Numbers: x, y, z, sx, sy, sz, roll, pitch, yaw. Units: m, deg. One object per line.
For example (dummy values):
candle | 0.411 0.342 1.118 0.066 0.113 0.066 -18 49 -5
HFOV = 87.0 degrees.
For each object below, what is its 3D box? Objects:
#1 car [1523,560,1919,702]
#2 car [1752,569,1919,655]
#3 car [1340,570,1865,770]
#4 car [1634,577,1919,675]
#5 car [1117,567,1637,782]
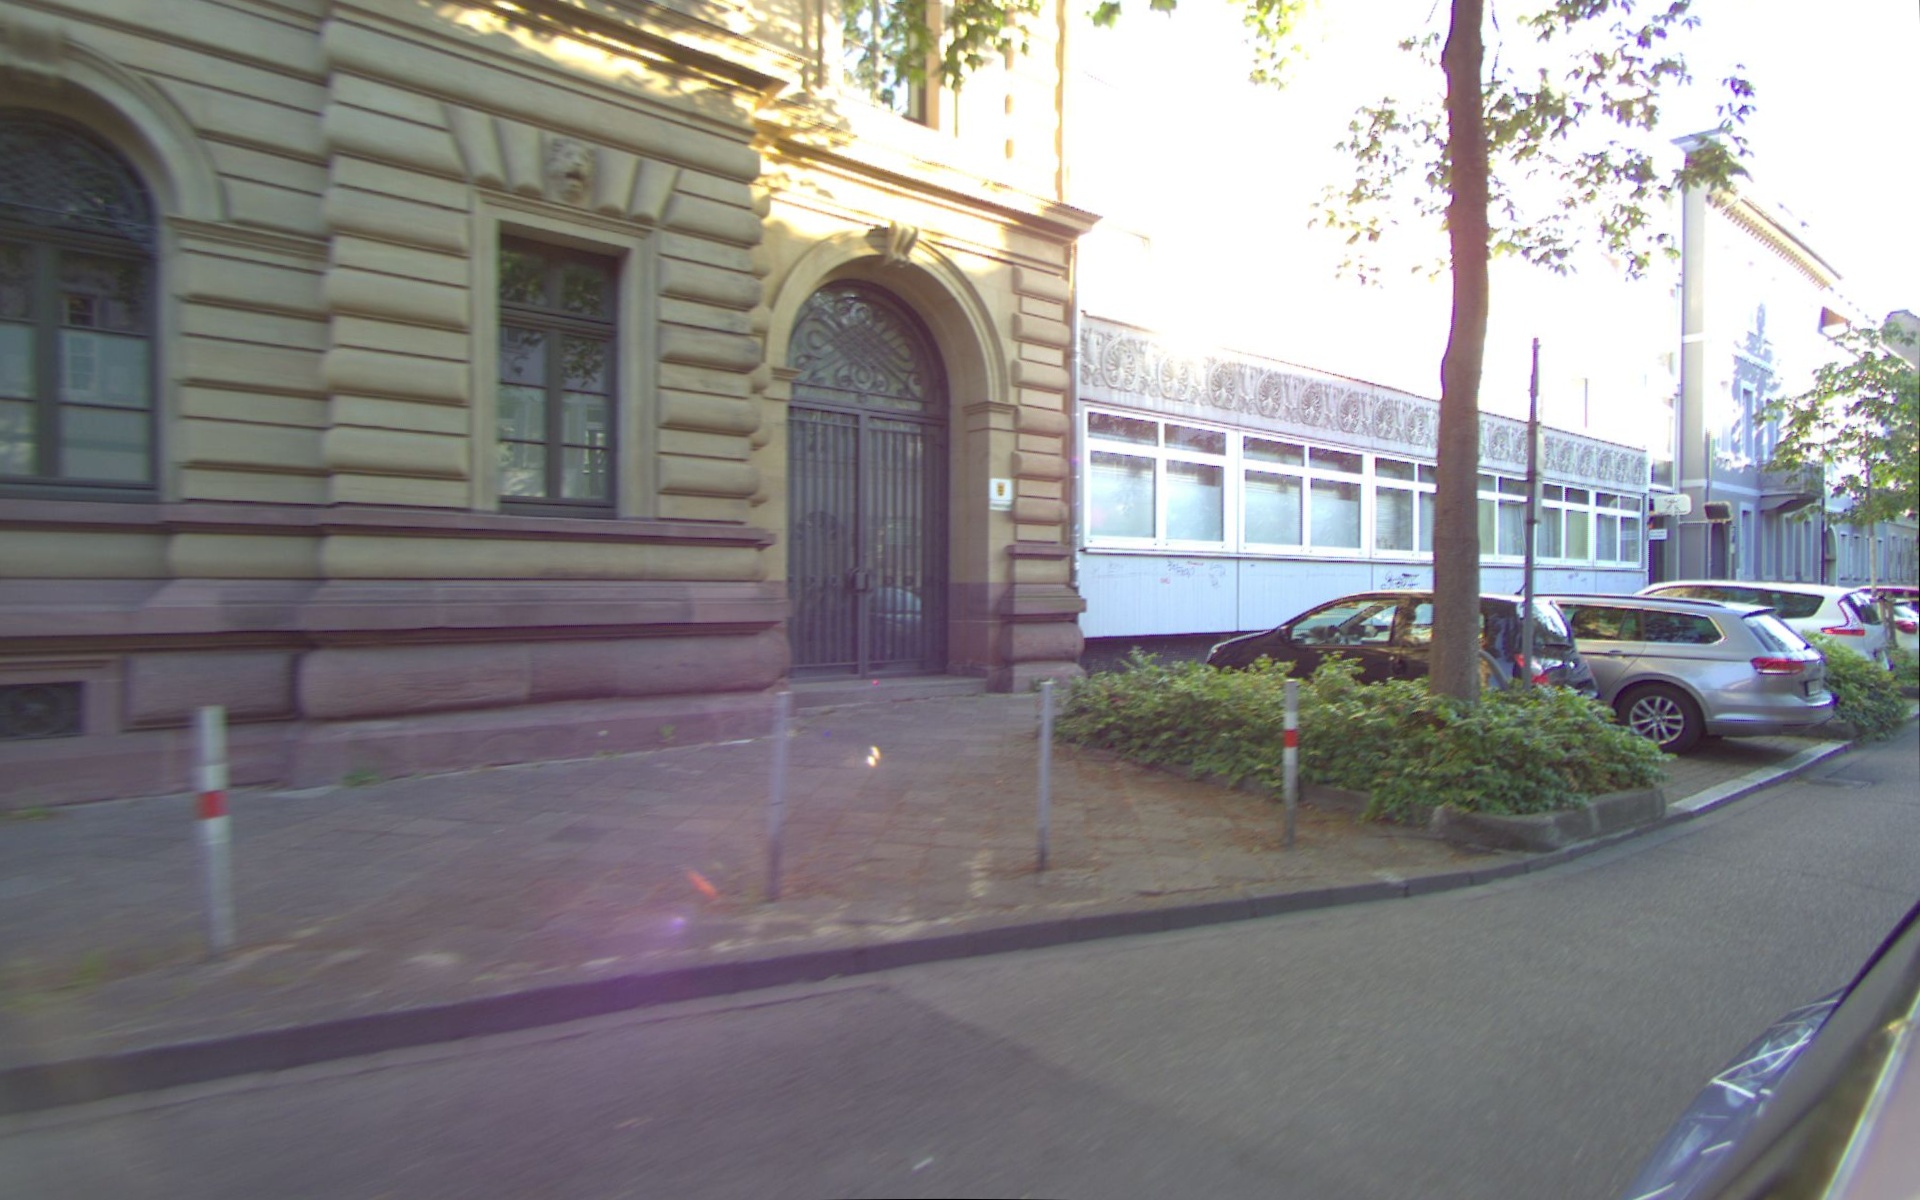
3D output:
car | 11.173 0.319 15.114 2.018 1.662 4.368 0 4 -40
car | 19.793 0.255 21.500 1.703 1.644 4.367 0 3 -40
car | 6.511 0.532 10.763 1.642 1.513 4.370 0 4 -38
car | 15.498 0.395 19.011 1.854 1.511 4.367 0 3 -40
car | 3.847 0.510 9.992 1.802 1.481 4.366 -1 4 -42
